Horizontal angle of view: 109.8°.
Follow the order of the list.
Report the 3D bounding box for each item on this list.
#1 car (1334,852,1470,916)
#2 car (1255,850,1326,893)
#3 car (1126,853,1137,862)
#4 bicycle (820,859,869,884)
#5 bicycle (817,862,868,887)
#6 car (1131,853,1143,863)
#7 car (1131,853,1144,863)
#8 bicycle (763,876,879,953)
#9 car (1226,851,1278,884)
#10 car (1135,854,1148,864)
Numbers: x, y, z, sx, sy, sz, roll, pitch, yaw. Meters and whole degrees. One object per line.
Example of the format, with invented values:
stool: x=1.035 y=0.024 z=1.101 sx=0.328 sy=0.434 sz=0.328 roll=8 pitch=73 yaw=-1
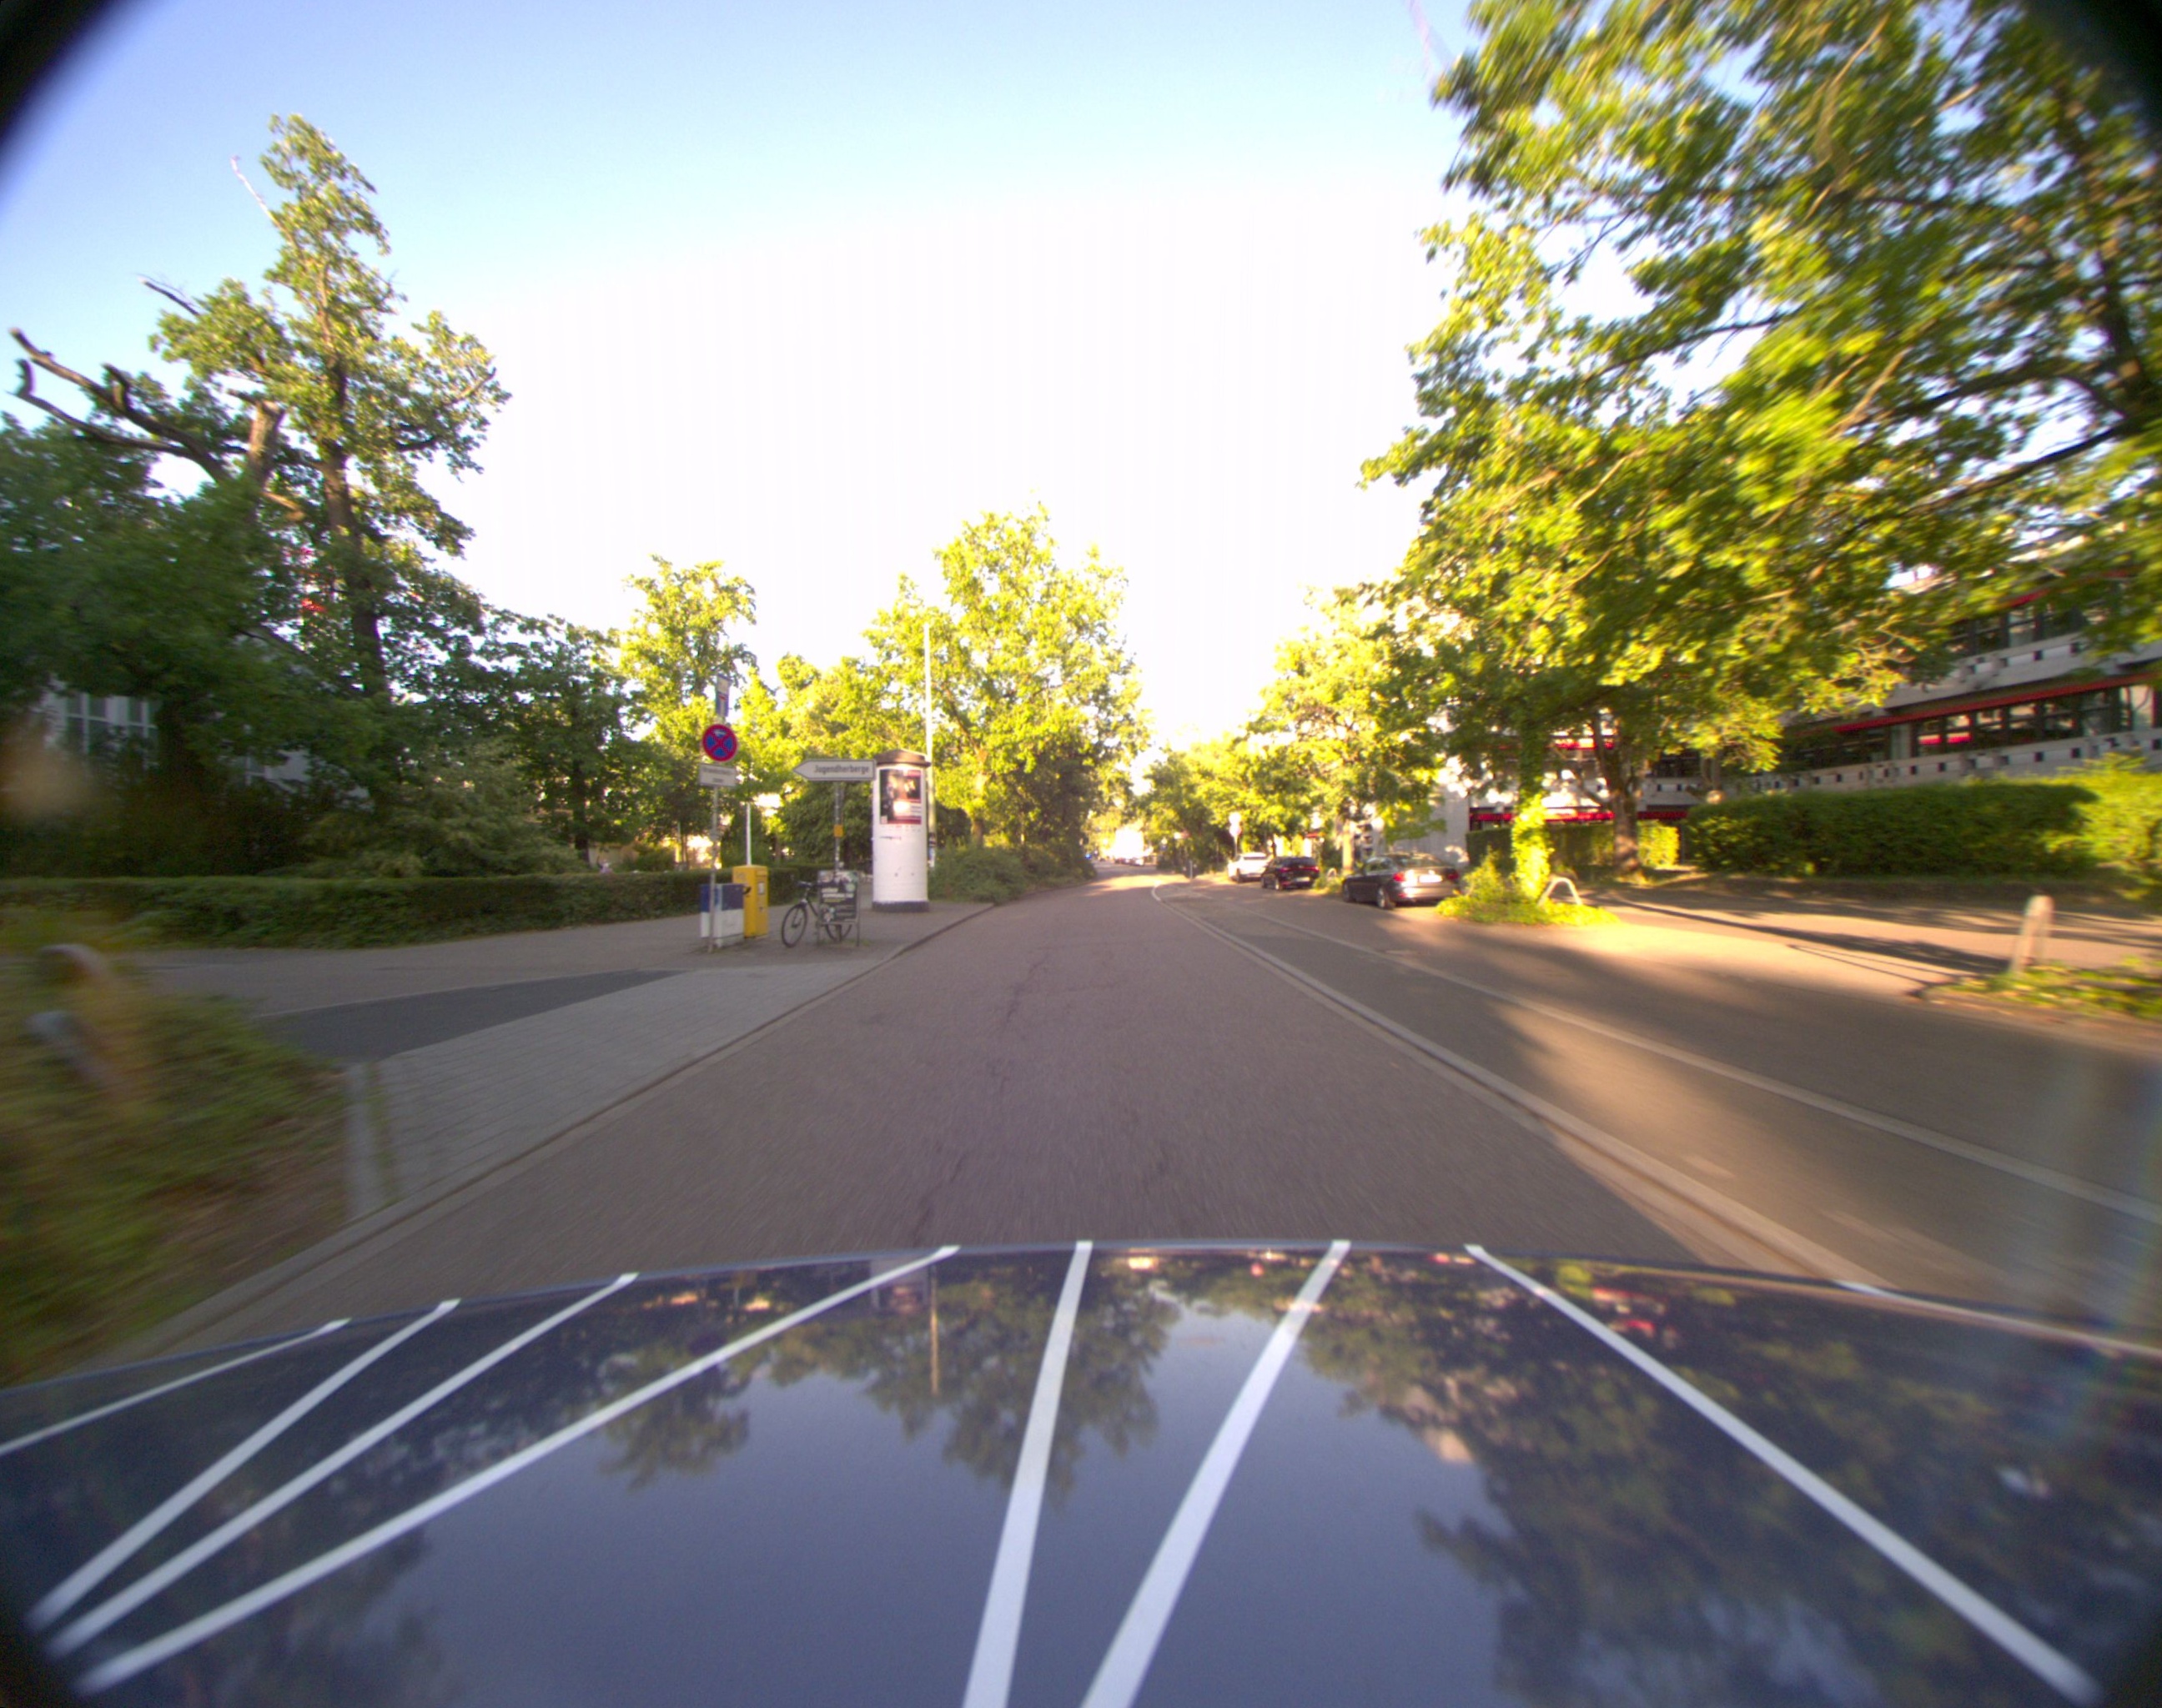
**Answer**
car: x=8.783 y=0.743 z=21.290 sx=1.807 sy=1.502 sz=4.862 roll=-2 pitch=0 yaw=1
car: x=8.746 y=0.683 z=32.085 sx=1.784 sy=1.607 sz=4.147 roll=-2 pitch=0 yaw=0
car: x=9.757 y=0.715 z=147.259 sx=1.776 sy=1.559 sz=4.109 roll=-2 pitch=0 yaw=0
bicycle: x=-12.616 y=0.940 z=40.617 sx=2.452 sy=1.291 sz=0.750 roll=-1 pitch=1 yaw=-16
bicycle: x=-12.149 y=1.024 z=38.769 sx=2.452 sy=1.214 sz=0.750 roll=-1 pitch=1 yaw=-16
car: x=9.492 y=0.647 z=129.089 sx=1.776 sy=1.559 sz=4.109 roll=-2 pitch=0 yaw=0
car: x=9.188 y=0.663 z=123.599 sx=1.776 sy=1.559 sz=4.109 roll=-2 pitch=0 yaw=0
bicycle: x=-4.361 y=0.969 z=12.941 sx=0.493 sy=1.141 sz=2.289 roll=2 pitch=0 yaw=20
car: x=8.945 y=0.678 z=40.125 sx=1.808 sy=1.607 sz=4.147 roll=-1 pitch=0 yaw=0
car: x=9.329 y=0.735 z=117.469 sx=1.776 sy=1.474 sz=4.109 roll=-2 pitch=0 yaw=0
